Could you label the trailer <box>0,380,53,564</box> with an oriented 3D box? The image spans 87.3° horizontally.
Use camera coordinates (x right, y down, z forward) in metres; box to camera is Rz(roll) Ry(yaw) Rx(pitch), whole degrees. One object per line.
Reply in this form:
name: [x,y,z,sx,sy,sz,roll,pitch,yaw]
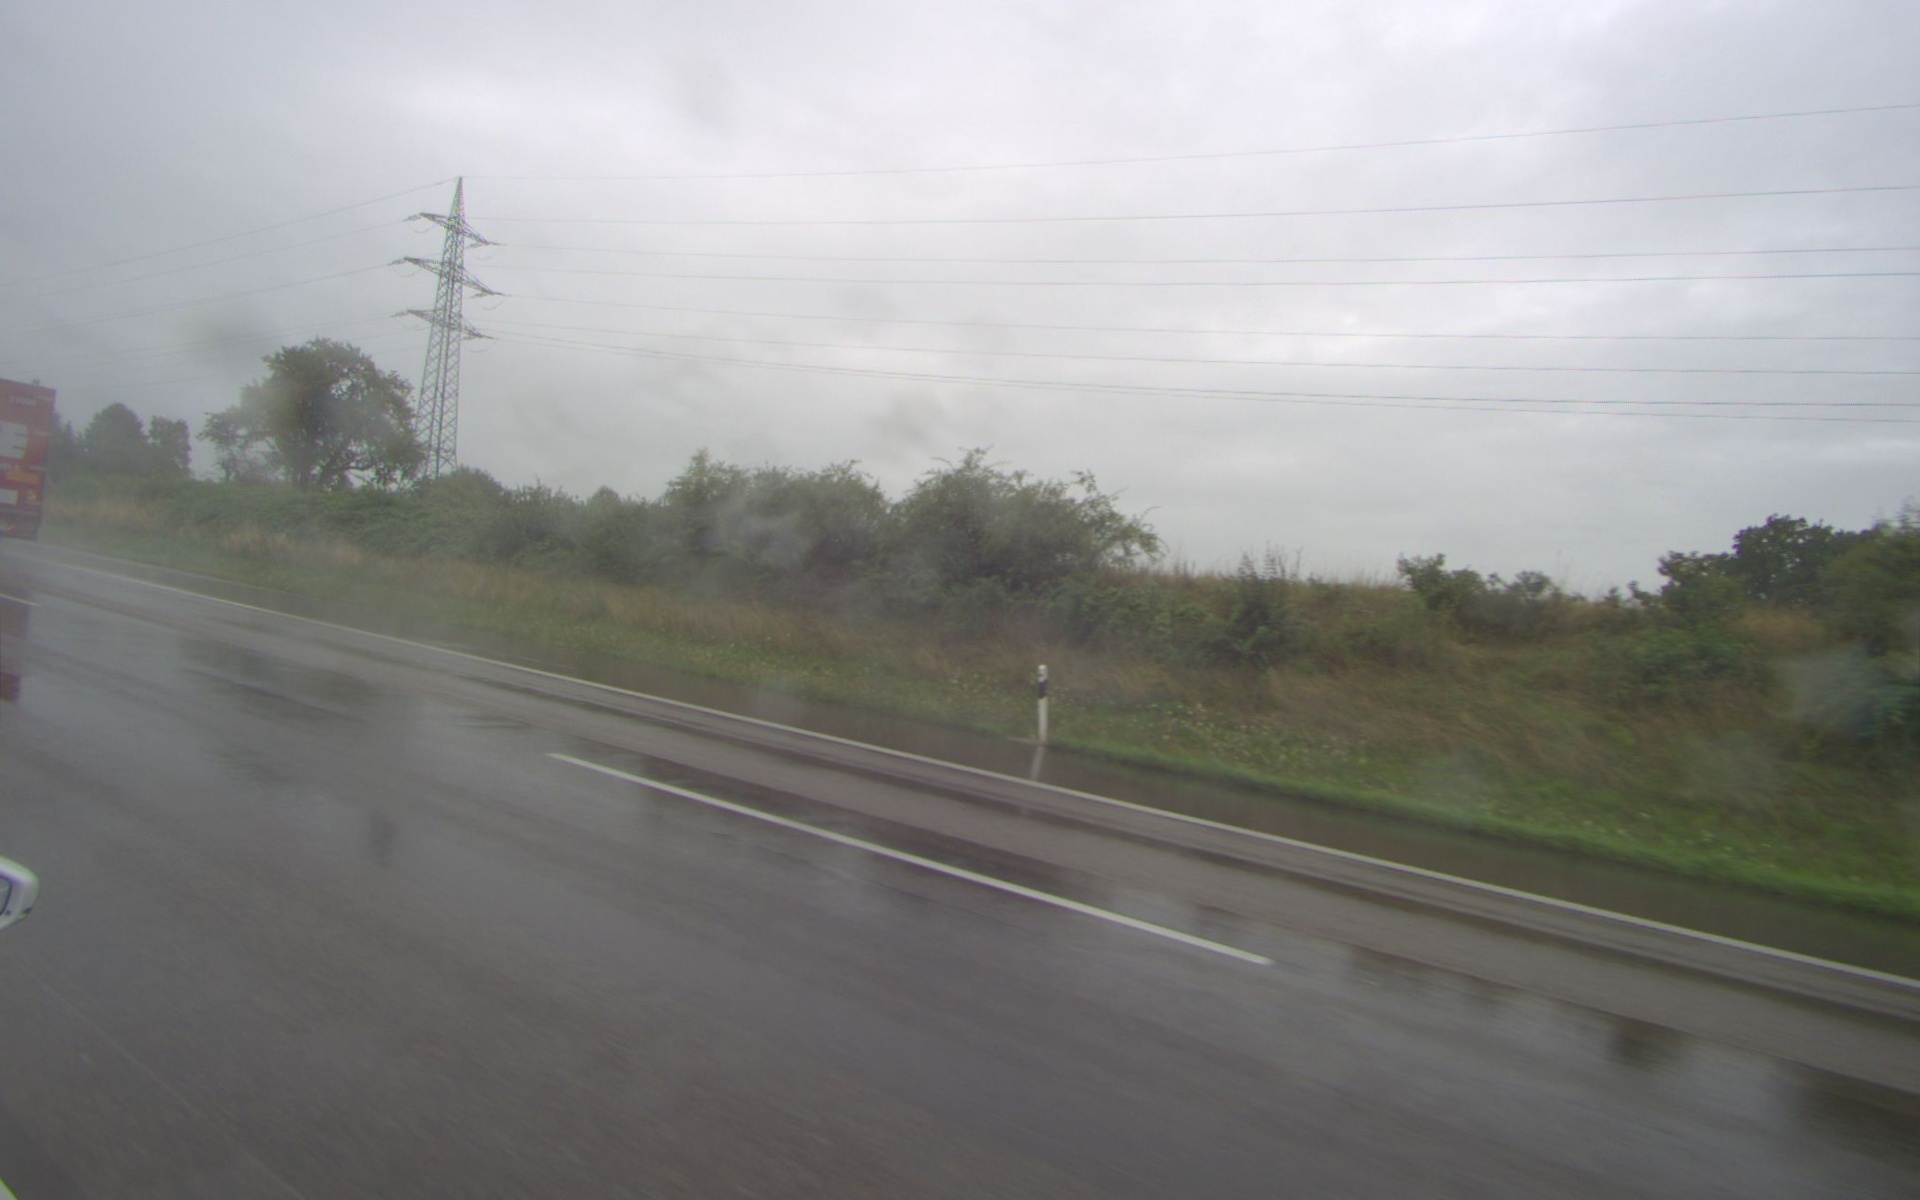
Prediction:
trailer: [-27.396,-3.556,25.423,13.401,4.006,2.622,7,1,31]
